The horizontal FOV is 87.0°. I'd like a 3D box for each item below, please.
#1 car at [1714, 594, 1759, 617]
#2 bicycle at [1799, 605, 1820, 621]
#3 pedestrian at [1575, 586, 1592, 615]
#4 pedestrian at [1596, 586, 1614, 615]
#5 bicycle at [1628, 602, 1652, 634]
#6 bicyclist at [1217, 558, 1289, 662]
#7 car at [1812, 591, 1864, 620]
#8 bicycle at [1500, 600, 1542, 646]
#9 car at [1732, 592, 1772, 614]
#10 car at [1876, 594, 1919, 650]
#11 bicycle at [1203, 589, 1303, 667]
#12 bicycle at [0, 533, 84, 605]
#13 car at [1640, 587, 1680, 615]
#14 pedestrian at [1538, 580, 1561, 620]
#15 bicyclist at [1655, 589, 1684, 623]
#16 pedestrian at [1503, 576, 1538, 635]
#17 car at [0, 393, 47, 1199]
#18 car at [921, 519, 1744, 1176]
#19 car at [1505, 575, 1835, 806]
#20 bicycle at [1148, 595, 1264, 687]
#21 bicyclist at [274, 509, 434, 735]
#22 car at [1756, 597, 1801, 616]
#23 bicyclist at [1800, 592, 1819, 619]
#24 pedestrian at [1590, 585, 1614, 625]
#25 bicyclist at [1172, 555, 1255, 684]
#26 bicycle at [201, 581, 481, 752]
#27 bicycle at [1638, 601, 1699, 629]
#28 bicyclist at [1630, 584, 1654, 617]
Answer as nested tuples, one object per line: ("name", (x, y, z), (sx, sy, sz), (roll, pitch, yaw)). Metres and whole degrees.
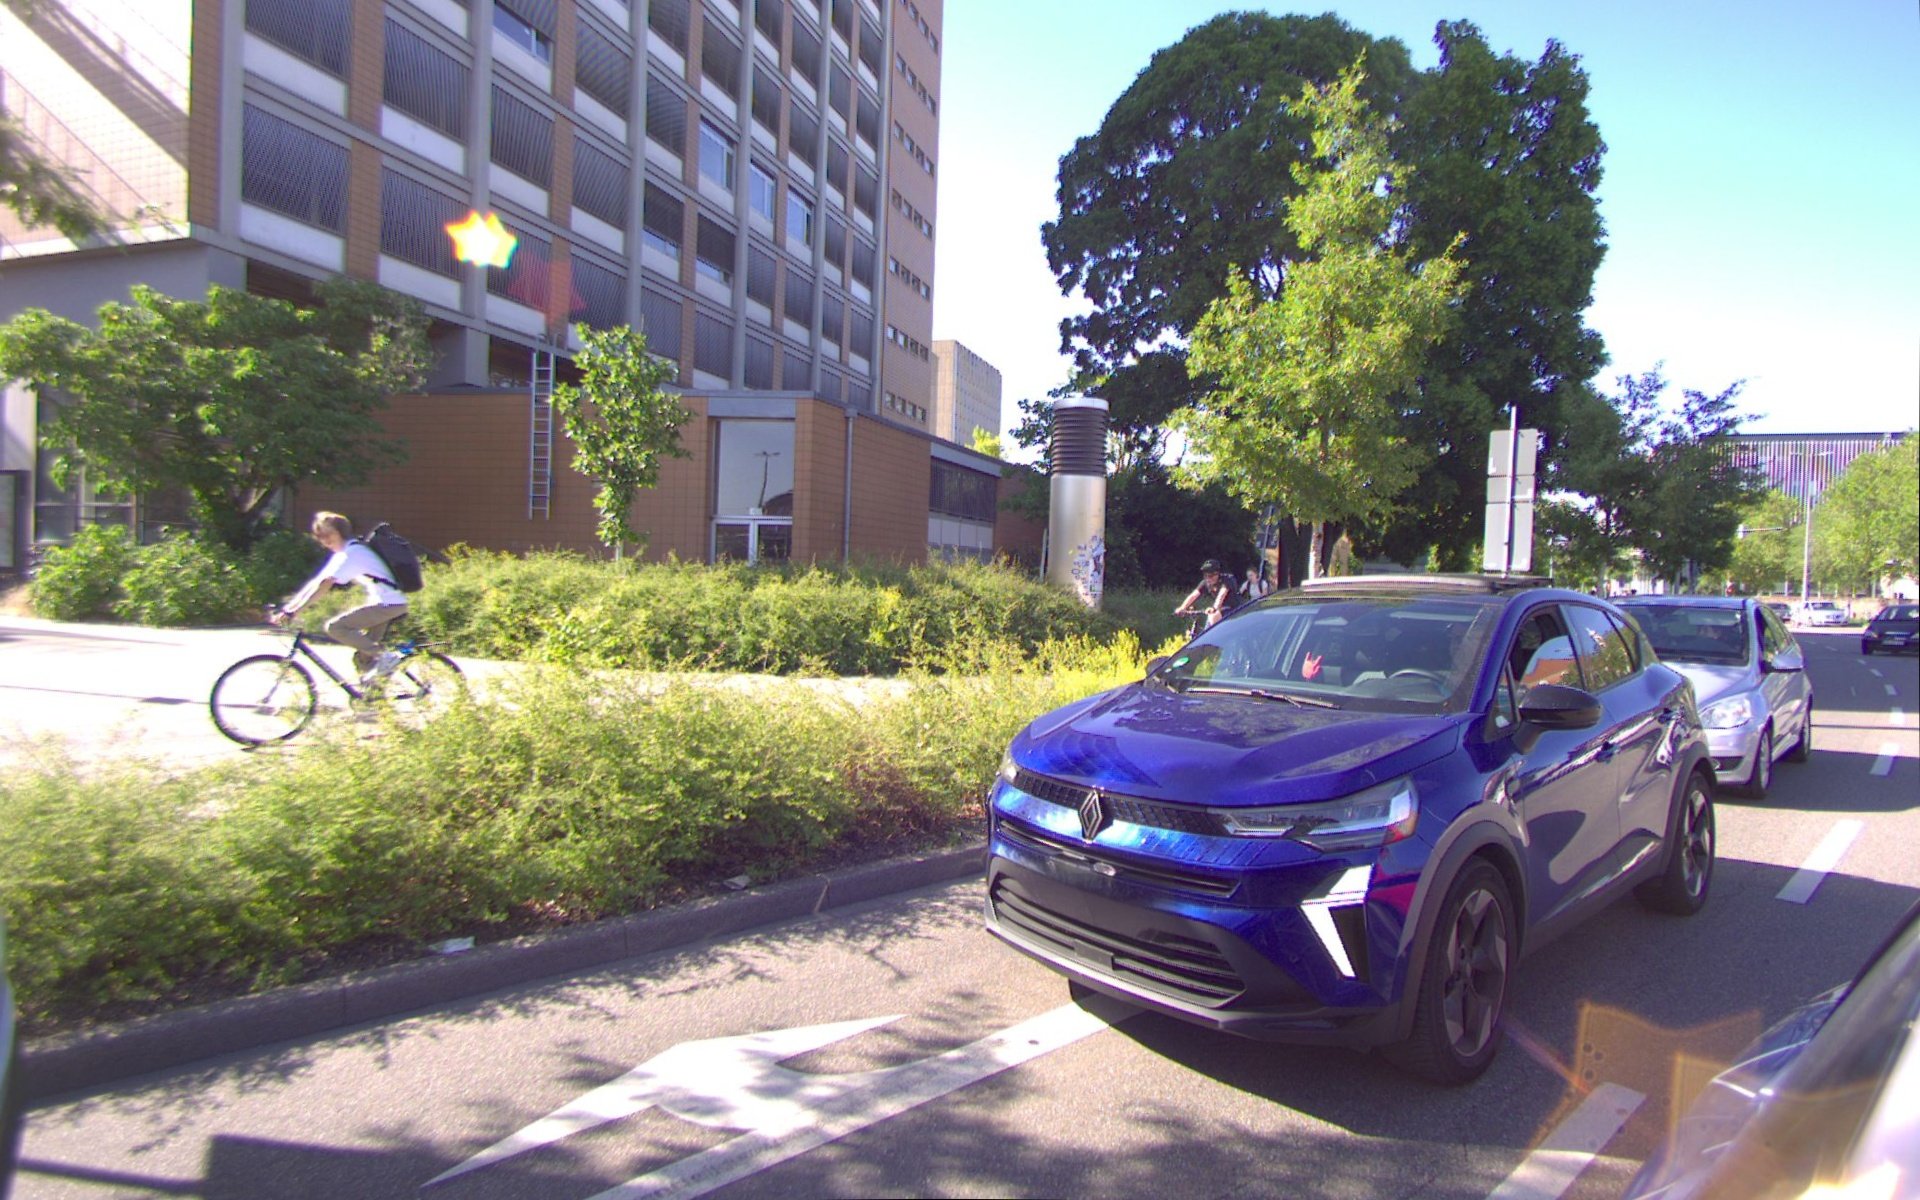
("car", (51.124, 0.337, 66.680), (1.736, 1.396, 3.540), (1, 1, 28))
("bicycle", (50.835, 0.787, 60.576), (0.584, 0.900, 1.640), (0, 0, 25))
("pedestrian", (41.630, 0.026, 67.599), (0.811, 1.941, 0.767), (0, 0, 20))
("pedestrian", (42.632, 0.032, 66.899), (0.811, 1.941, 0.767), (0, 0, 20))
("bicycle", (28.439, 0.732, 42.331), (0.687, 1.232, 1.814), (4, 3, 32))
("bicyclist", (4.720, 0.149, 16.302), (0.961, 1.618, 0.686), (1, 1, -43))
("car", (54.474, 0.324, 62.813), (1.509, 1.701, 3.352), (1, 0, 24))
("bicycle", (13.994, 0.562, 25.228), (0.515, 1.057, 1.742), (5, 3, 40))
("car", (60.654, 0.238, 77.548), (1.578, 1.625, 3.048), (2, 1, 23))
("car", (29.764, 0.683, 31.062), (3.422, 1.631, 1.653), (1, 1, -34))
("bicycle", (4.750, 0.434, 16.343), (1.852, 1.178, 0.686), (1, 1, -43))
("bicycle", (-19.132, -0.612, 19.671), (0.790, 1.394, 3.111), (2, 1, 26))
("car", (49.815, 0.050, 72.042), (1.811, 1.876, 3.716), (2, 1, 27))
("pedestrian", (24.574, -0.013, 42.177), (0.685, 1.624, 0.656), (2, 1, 22))
("bicyclist", (32.141, 0.255, 45.849), (0.837, 1.492, 0.760), (2, 1, 21))
("pedestrian", (13.954, 0.124, 25.171), (0.515, 1.419, 0.947), (4, 3, 40))
("car", (-3.163, 0.574, 0.319), (4.223, 1.662, 1.698), (0, 1, -42))
("car", (1.926, 0.605, 4.479), (4.013, 1.626, 1.704), (1, 1, -41))
("car", (6.656, 0.643, 9.311), (3.977, 1.645, 1.782), (0, 1, -44))
("bicycle", (3.308, 0.508, 13.488), (0.626, 1.128, 1.821), (2, 1, 45))
("bicyclist", (-4.556, 0.146, 7.614), (0.930, 1.588, 0.573), (1, 1, -41))
("car", (57.677, 0.417, 71.360), (1.569, 1.219, 3.966), (0, 1, 25))
("bicyclist", (50.812, 0.315, 60.536), (0.688, 1.578, 0.809), (0, 0, 26))
("pedestrian", (26.833, 0.199, 42.316), (0.685, 1.624, 0.657), (2, 1, 22))
("bicyclist", (3.406, 0.244, 13.571), (0.979, 1.658, 0.626), (1, 1, -45))
("bicycle", (-4.599, 0.448, 7.594), (1.710, 1.139, 0.573), (1, 1, -41))
("bicycle", (32.088, 0.686, 45.871), (2.099, 1.189, 0.760), (1, 1, 21))
("bicyclist", (28.256, 0.000, 41.951), (0.717, 1.294, 0.897), (4, 3, 32))
